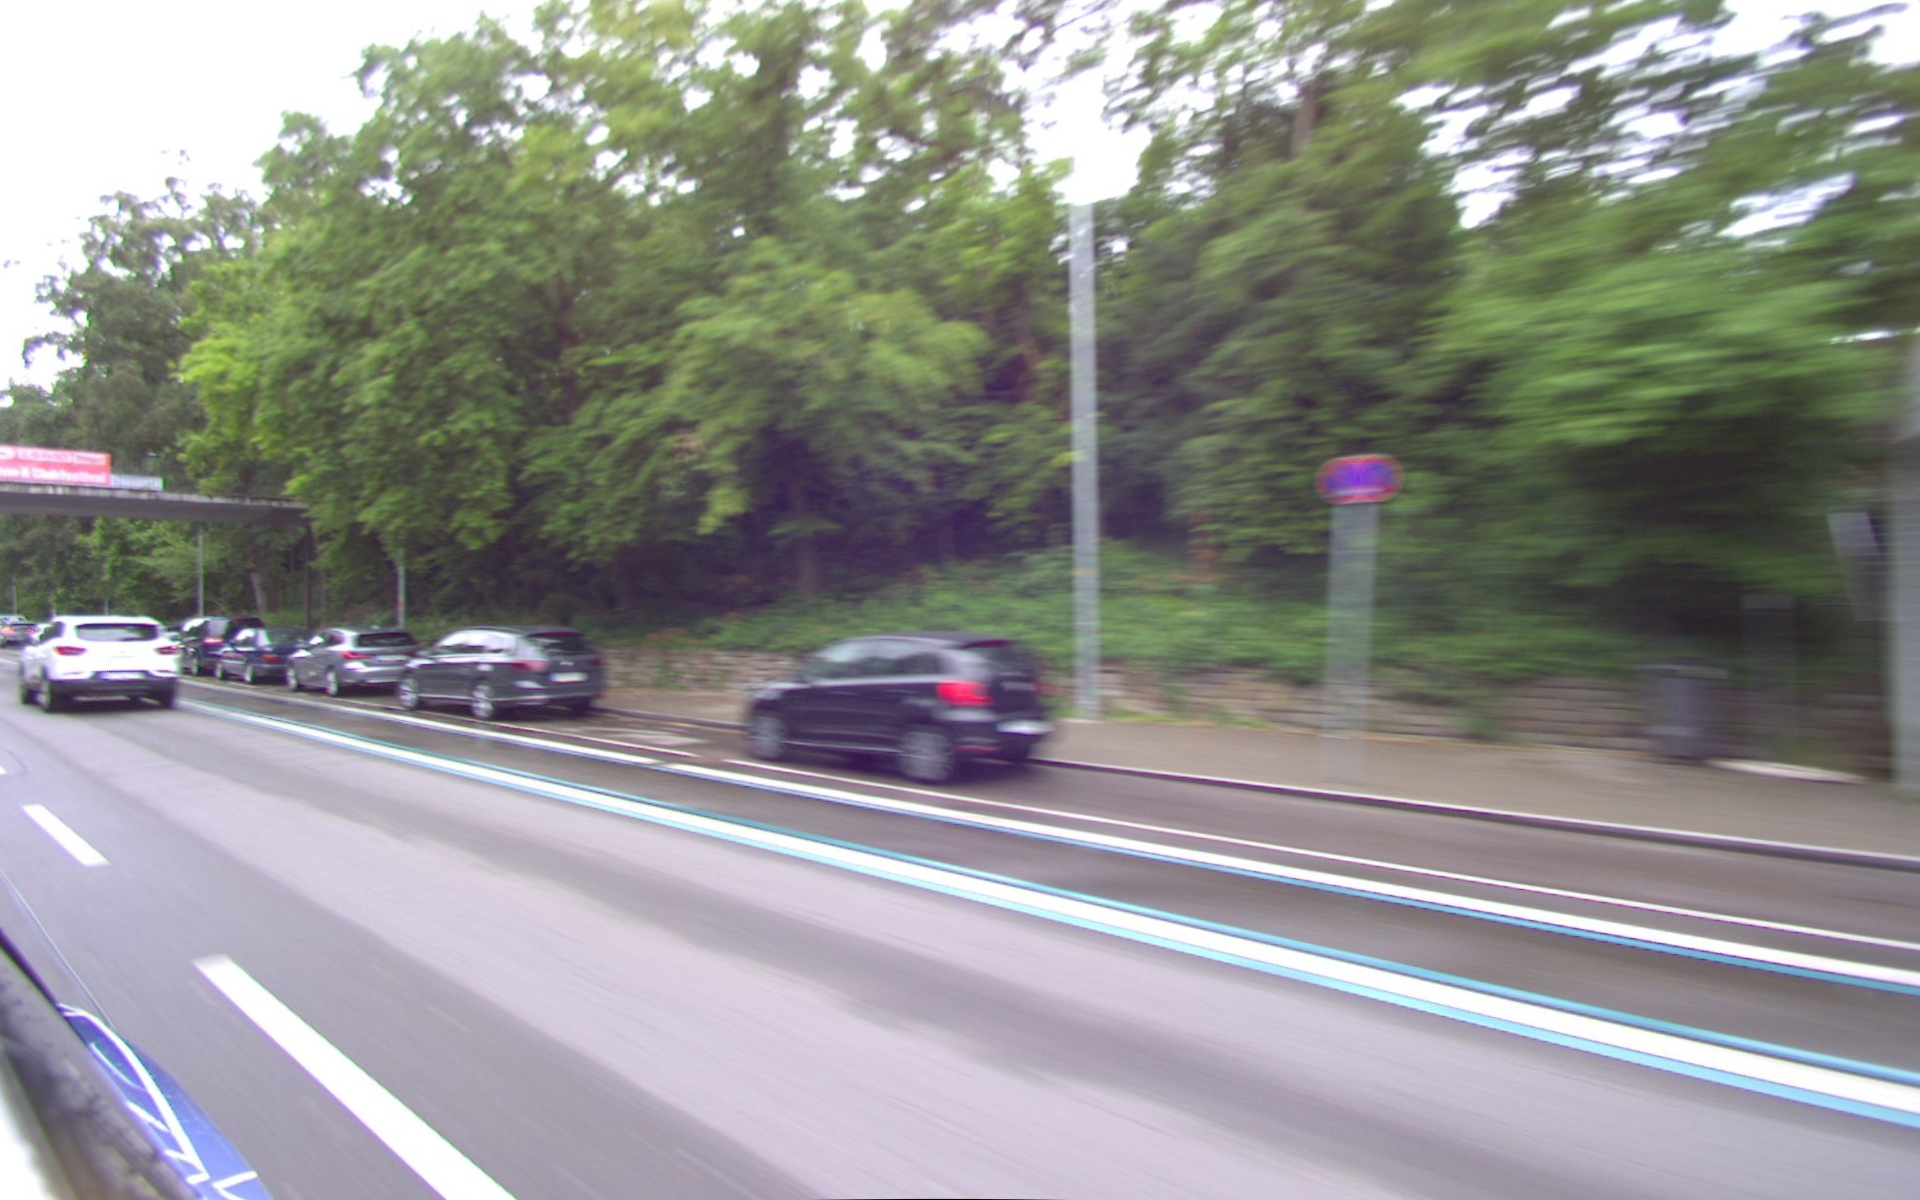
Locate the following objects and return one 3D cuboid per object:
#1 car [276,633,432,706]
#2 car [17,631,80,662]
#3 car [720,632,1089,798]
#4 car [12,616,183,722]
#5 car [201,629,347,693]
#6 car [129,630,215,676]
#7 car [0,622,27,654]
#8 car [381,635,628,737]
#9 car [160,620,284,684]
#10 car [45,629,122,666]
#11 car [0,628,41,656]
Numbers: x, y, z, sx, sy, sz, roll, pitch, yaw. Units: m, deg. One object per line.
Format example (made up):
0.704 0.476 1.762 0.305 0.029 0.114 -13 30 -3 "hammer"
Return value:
-13.390 1.479 22.263 4.294 1.434 1.765 -2 -2 42 "car"
-45.626 2.305 50.621 3.979 1.493 1.771 -2 -3 40 "car"
-0.731 1.089 10.997 3.991 1.468 1.653 -1 -2 41 "car"
-15.391 1.161 17.989 4.128 1.664 1.776 -2 -3 42 "car"
-18.068 1.546 26.558 4.894 1.484 1.963 -2 -1 41 "car"
-26.364 1.752 33.829 3.842 1.450 1.592 -2 -2 42 "car"
-64.569 2.568 68.022 5.010 2.020 1.955 -2 -1 37 "car"
-7.813 1.335 17.149 4.752 1.474 1.936 -2 -2 40 "car"
-22.142 1.514 30.296 4.835 1.755 1.970 -2 -2 41 "car"
-37.799 2.025 43.604 4.035 1.488 1.813 -2 -2 39 "car"
-57.824 2.545 61.771 4.776 1.618 1.989 -2 -2 41 "car"
